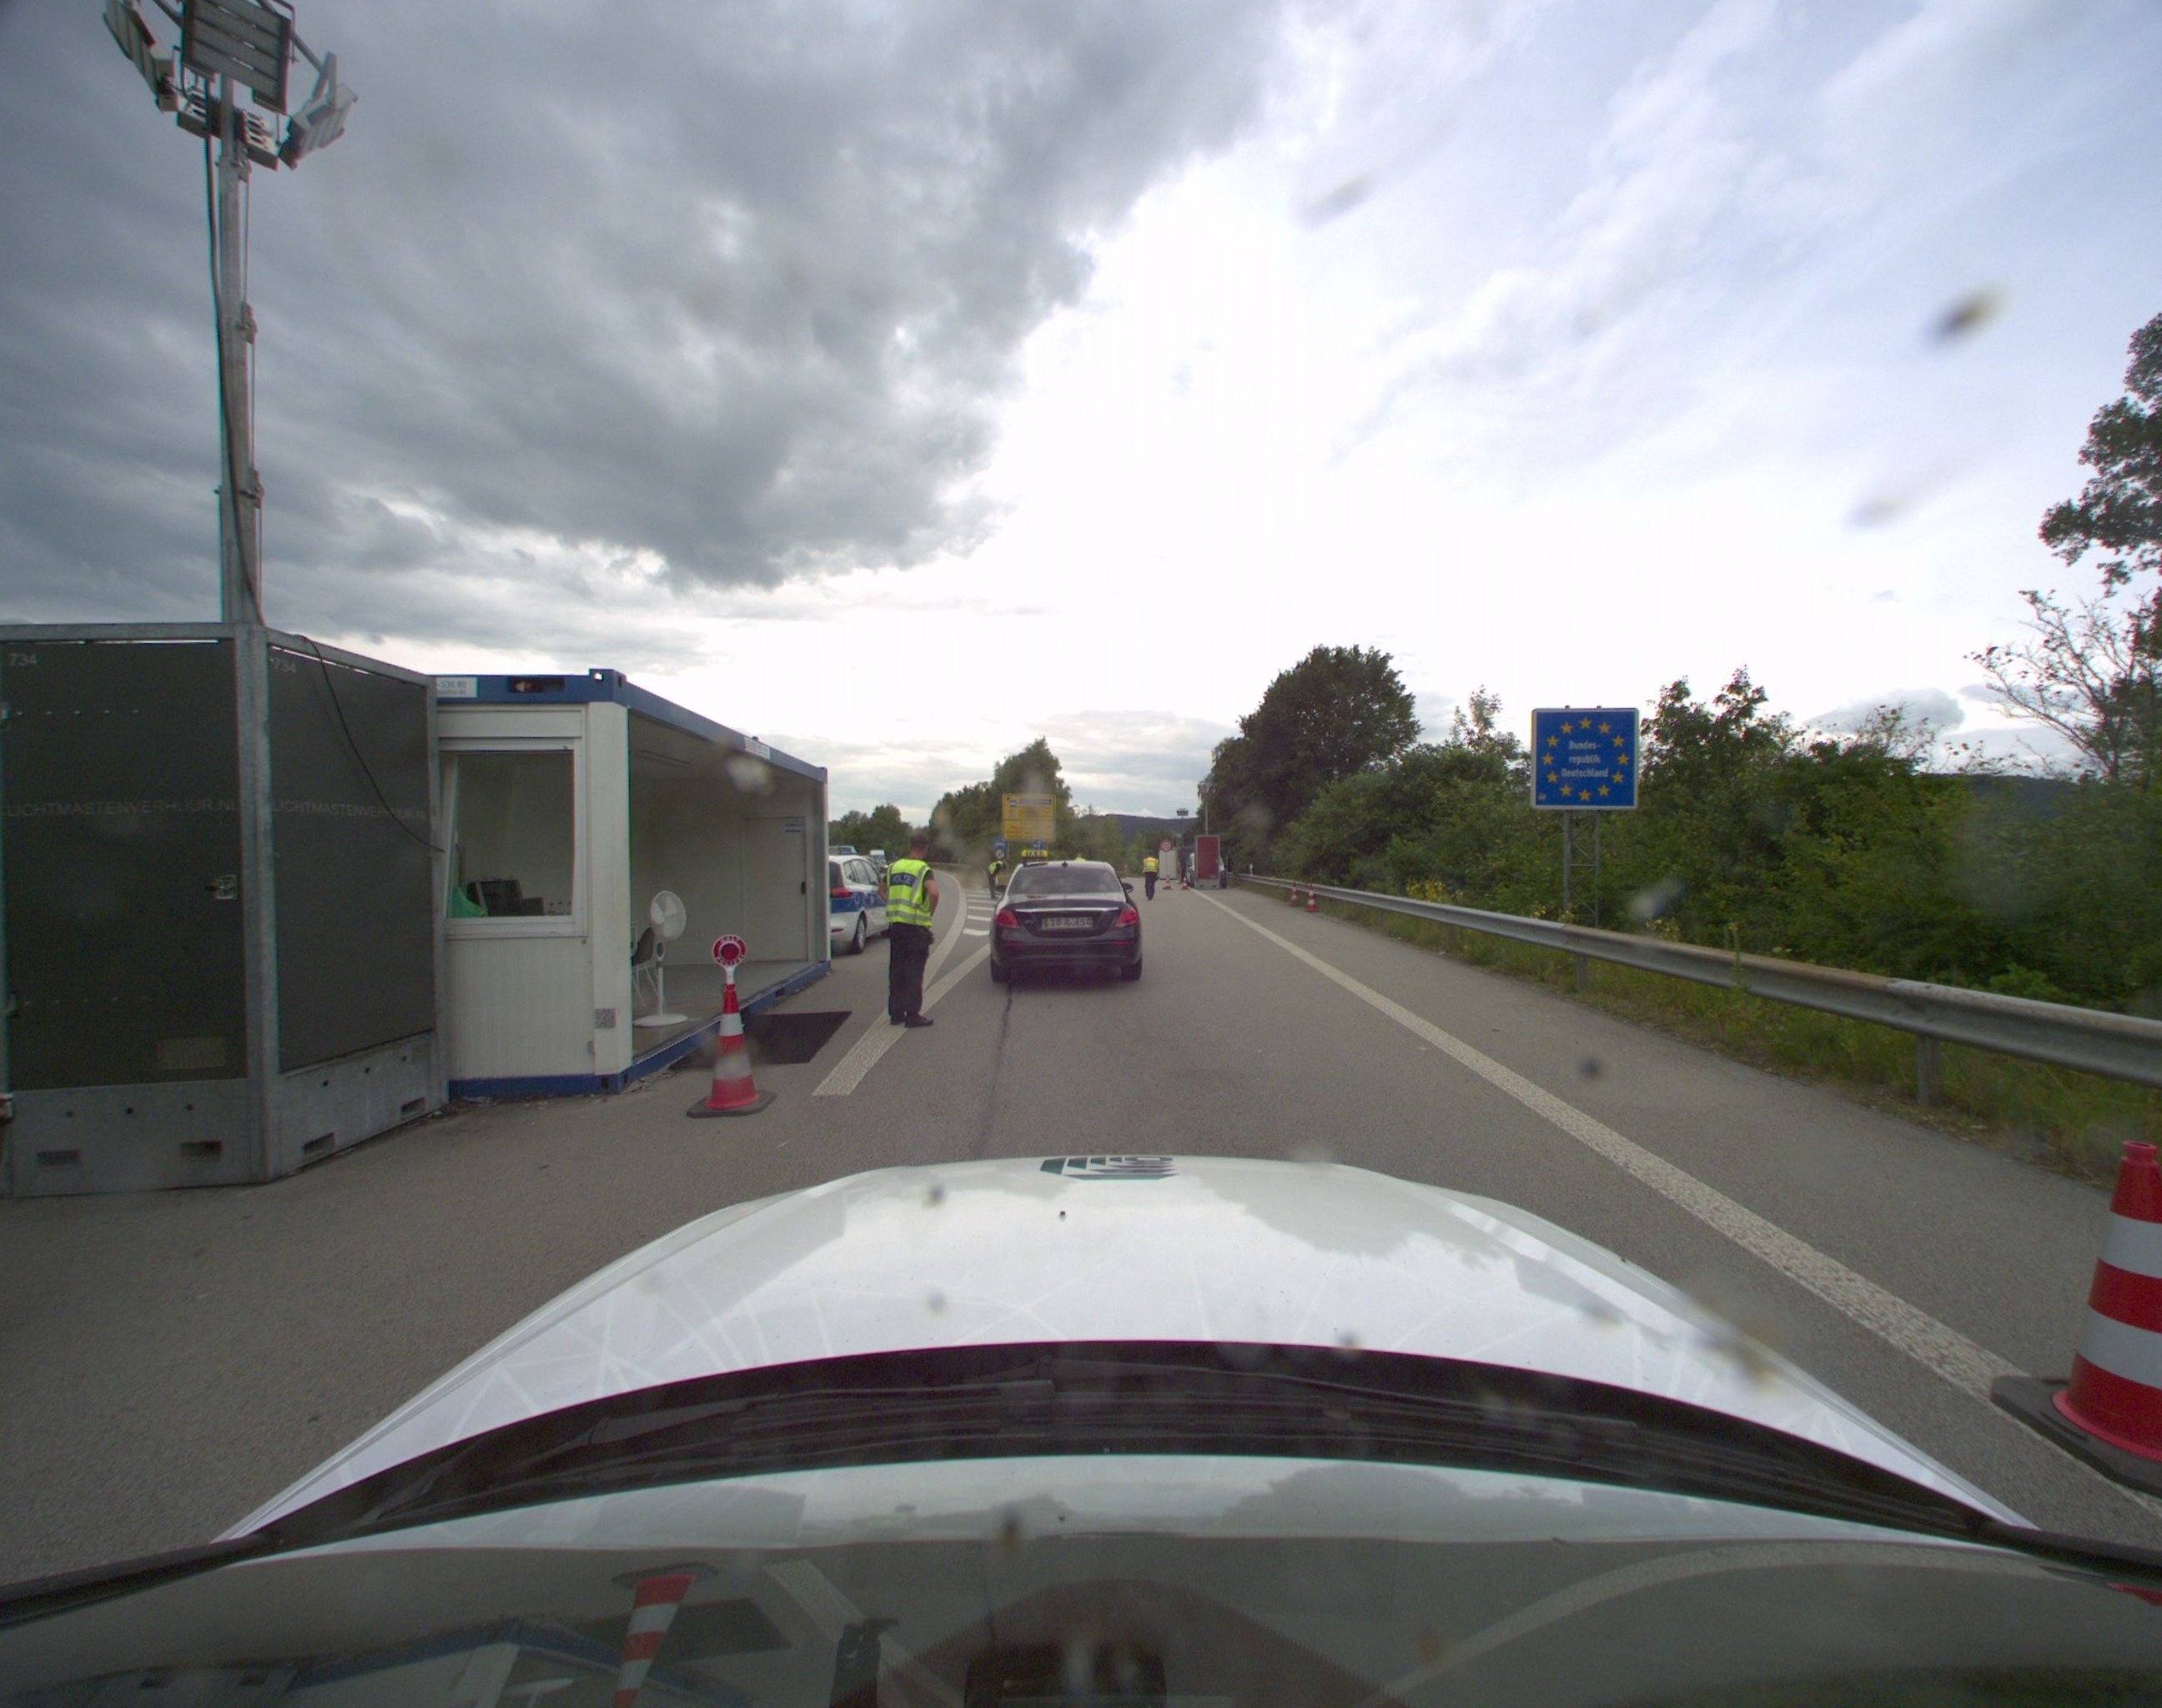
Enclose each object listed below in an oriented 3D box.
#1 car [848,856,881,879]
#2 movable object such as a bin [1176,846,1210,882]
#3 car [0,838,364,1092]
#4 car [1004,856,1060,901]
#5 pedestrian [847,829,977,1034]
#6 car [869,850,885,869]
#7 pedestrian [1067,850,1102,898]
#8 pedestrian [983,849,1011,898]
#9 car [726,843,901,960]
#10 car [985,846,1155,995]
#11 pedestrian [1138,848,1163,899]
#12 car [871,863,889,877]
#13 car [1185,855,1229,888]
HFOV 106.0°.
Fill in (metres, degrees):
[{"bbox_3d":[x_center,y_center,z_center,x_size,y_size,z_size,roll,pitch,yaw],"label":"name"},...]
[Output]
[{"bbox_3d":[-14.835,0.906,55.962,1.856,1.498,4.240,-1,0,-11],"label":"car"},{"bbox_3d":[7.335,0.627,53.754,1.984,2.280,4.173,-1,0,4],"label":"movable object such as a bin"},{"bbox_3d":[-8.381,0.778,6.474,1.864,1.743,4.005,-1,0,-2],"label":"car"},{"bbox_3d":[-1.727,0.849,30.117,1.850,1.498,4.255,-1,0,-1],"label":"car"},{"bbox_3d":[-1.523,0.651,7.363,0.752,1.718,0.823,-2,-1,39],"label":"pedestrian"},{"bbox_3d":[-25.076,0.646,100.242,1.858,2.222,4.236,-1,0,-14],"label":"car"},{"bbox_3d":[0.111,0.702,29.168,0.914,1.698,0.905,-1,-1,-30],"label":"pedestrian"},{"bbox_3d":[-3.111,0.727,30.273,0.908,1.769,0.911,-1,-1,-1],"label":"pedestrian"},{"bbox_3d":[-4.524,0.734,14.439,1.864,1.743,4.005,-1,0,-2],"label":"car"},{"bbox_3d":[-0.217,0.733,11.155,1.851,1.595,4.371,-1,0,-3],"label":"car"},{"bbox_3d":[2.520,0.704,29.543,0.809,1.830,0.810,-1,-1,1],"label":"pedestrian"},{"bbox_3d":[-21.974,1.704,89.101,1.854,1.463,3.982,-1,-1,-13],"label":"car"},{"bbox_3d":[6.873,0.895,44.913,1.908,1.678,5.088,1,0,3],"label":"car"}]
